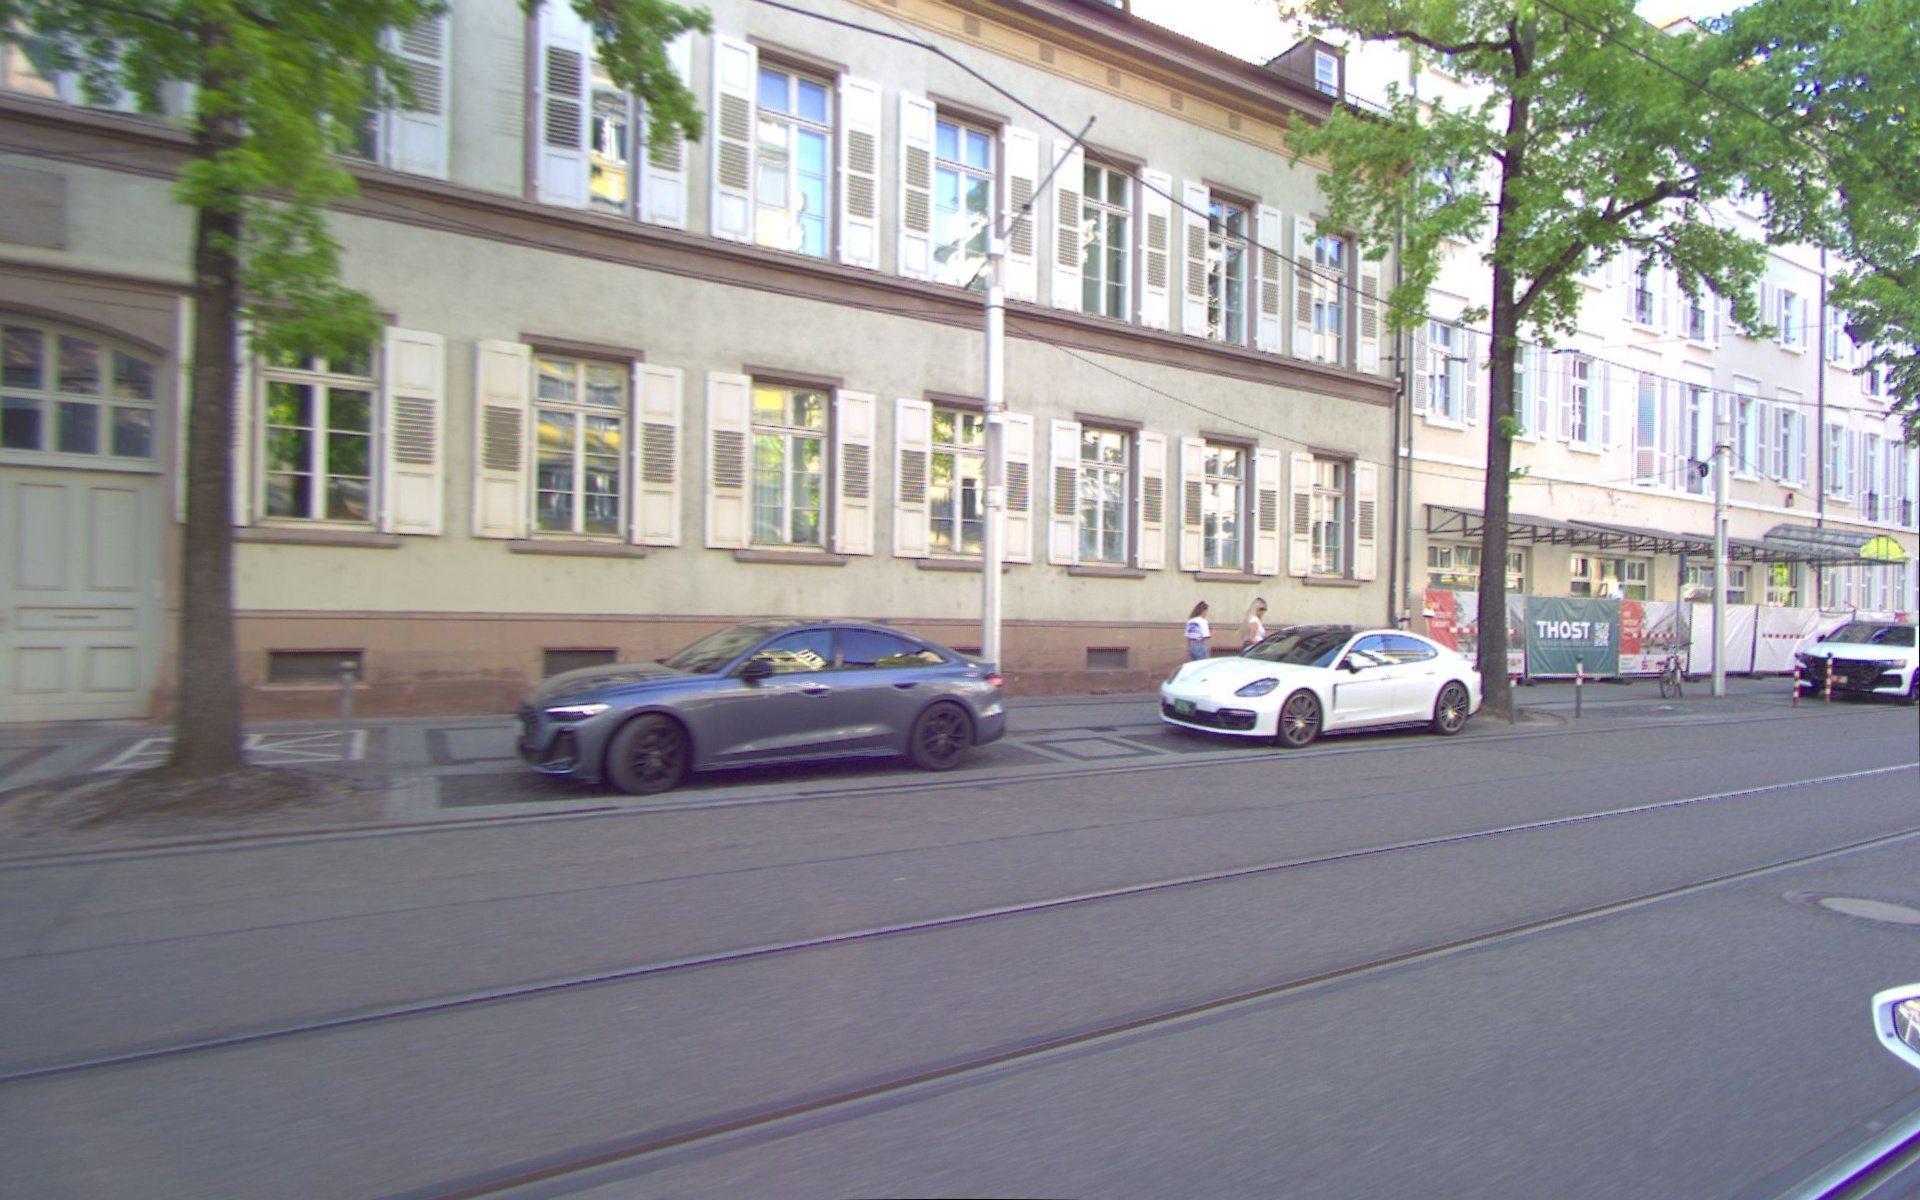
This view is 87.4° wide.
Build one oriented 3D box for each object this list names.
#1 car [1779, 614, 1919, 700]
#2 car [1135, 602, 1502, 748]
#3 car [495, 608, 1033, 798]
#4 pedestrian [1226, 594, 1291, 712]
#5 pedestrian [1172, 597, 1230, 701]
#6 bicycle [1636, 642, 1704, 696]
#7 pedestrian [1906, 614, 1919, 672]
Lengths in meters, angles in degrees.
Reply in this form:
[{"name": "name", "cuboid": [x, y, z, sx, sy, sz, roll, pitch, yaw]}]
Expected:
[{"name": "car", "cuboid": [20.640, 1.242, 22.429, 4.952, 1.714, 1.953, 2, -1, -29]}, {"name": "car", "cuboid": [4.906, 0.926, 13.572, 4.849, 1.662, 1.938, 2, 0, -29]}, {"name": "car", "cuboid": [-1.790, 0.859, 9.840, 4.794, 1.431, 1.950, 2, -1, -33]}, {"name": "pedestrian", "cuboid": [4.517, 0.788, 15.218, 0.648, 1.743, 0.683, 1, -1, -30]}, {"name": "pedestrian", "cuboid": [4.036, 0.806, 16.841, 0.640, 1.702, 0.671, 1, -1, -30]}, {"name": "bicycle", "cuboid": [14.700, 1.403, 20.772, 1.990, 1.064, 0.589, 2, -1, -37]}, {"name": "pedestrian", "cuboid": [30.497, 1.362, 31.767, 0.669, 1.830, 0.703, 1, -1, -35]}]
